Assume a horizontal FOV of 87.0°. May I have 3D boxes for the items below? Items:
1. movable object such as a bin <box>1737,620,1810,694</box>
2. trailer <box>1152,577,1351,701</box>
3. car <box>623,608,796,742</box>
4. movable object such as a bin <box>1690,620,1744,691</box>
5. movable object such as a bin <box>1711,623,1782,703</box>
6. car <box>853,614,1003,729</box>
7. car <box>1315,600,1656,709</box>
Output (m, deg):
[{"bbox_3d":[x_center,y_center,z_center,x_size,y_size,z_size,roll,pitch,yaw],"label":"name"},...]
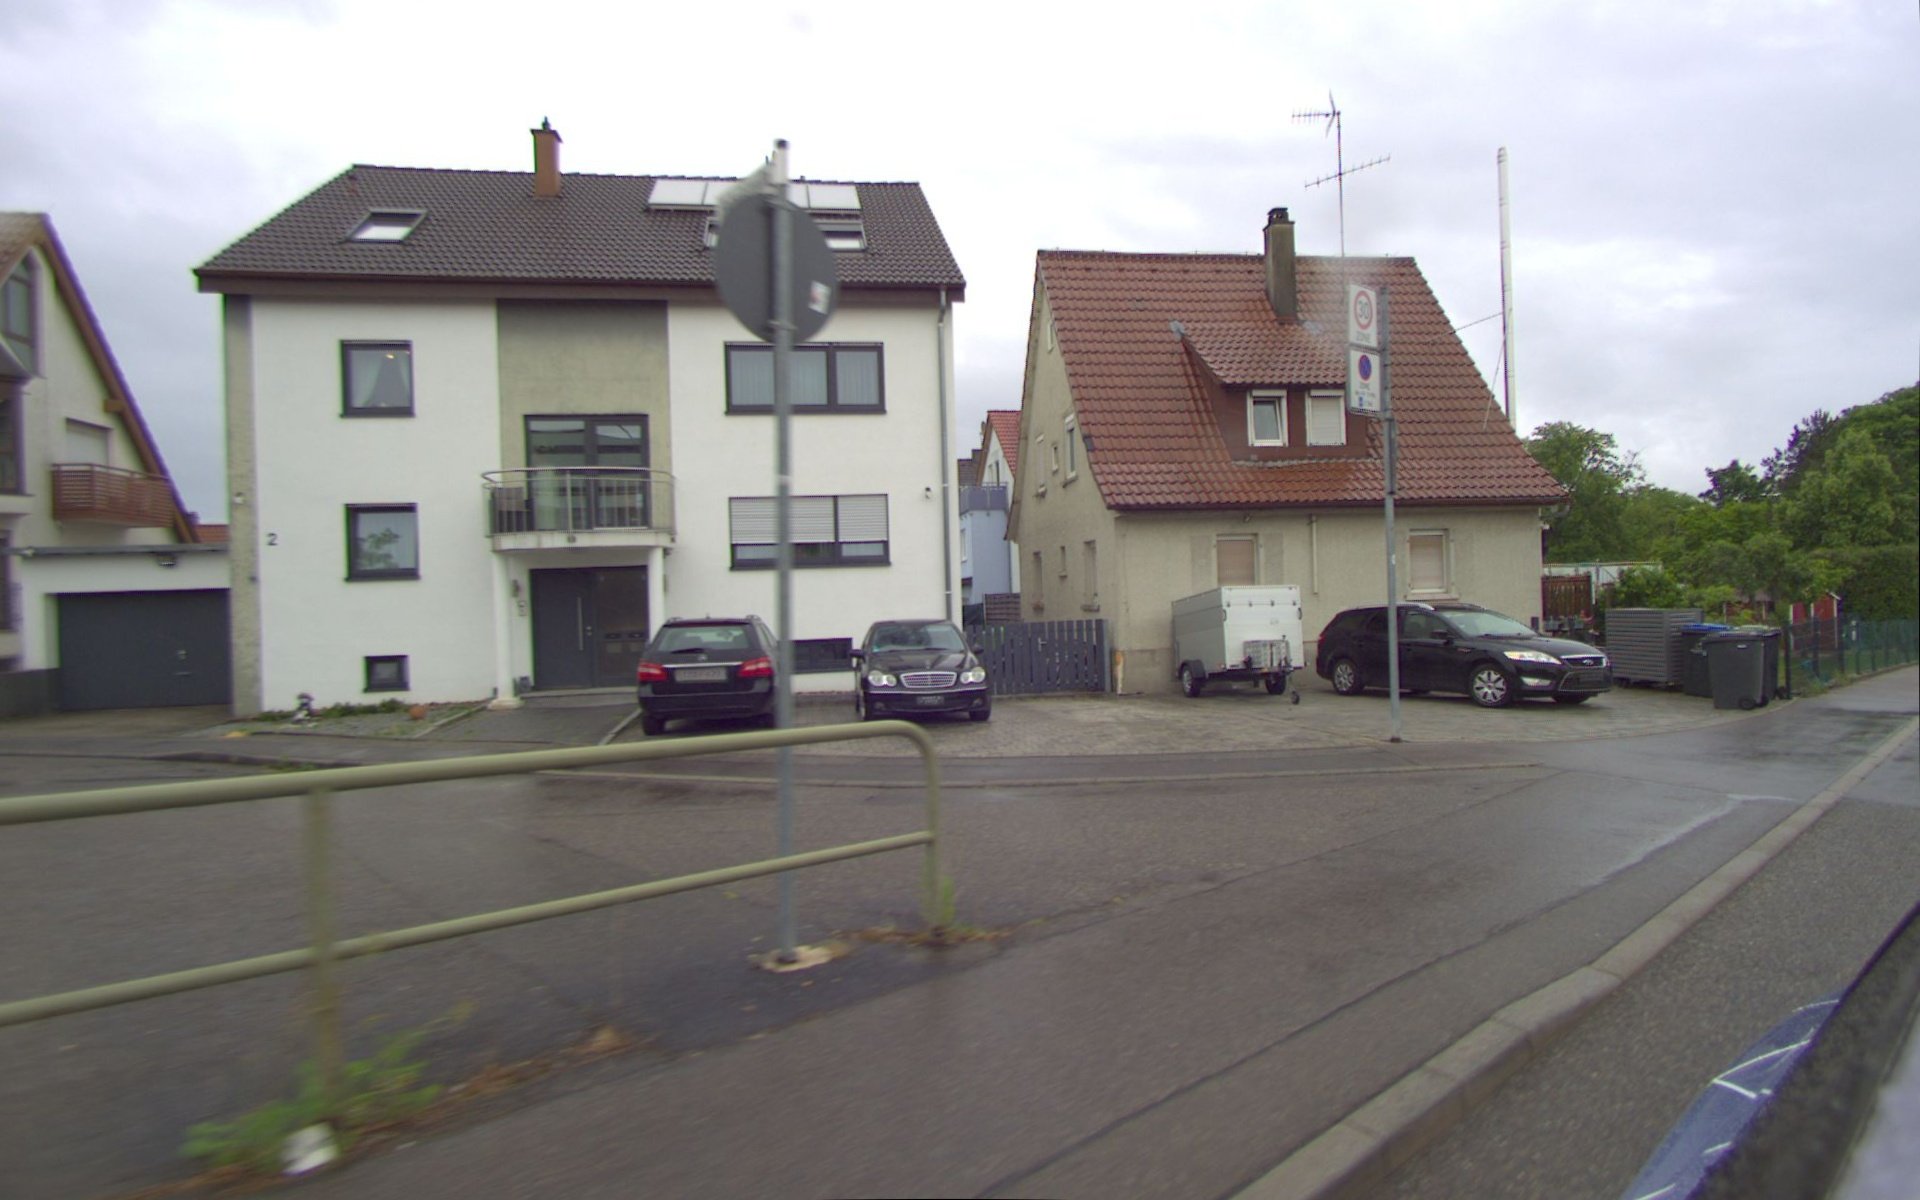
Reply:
[{"bbox_3d":[11.845,0.817,14.740,0.718,1.034,0.532,1,0,-22],"label":"movable object such as a bin"},{"bbox_3d":[4.730,0.640,16.936,1.653,1.822,3.468,-1,-2,-13],"label":"trailer"},{"bbox_3d":[-3.331,0.922,14.174,1.835,1.482,4.005,-4,0,-8],"label":"car"},{"bbox_3d":[11.403,0.833,15.247,0.513,1.034,0.445,1,0,-21],"label":"movable object such as a bin"},{"bbox_3d":[10.792,0.845,13.889,0.530,1.034,0.629,1,0,-36],"label":"movable object such as a bin"},{"bbox_3d":[-0.613,0.902,14.636,1.749,1.340,4.405,-2,-1,-7],"label":"car"},{"bbox_3d":[7.757,0.773,15.556,1.958,1.402,4.580,0,-2,-18],"label":"car"}]
